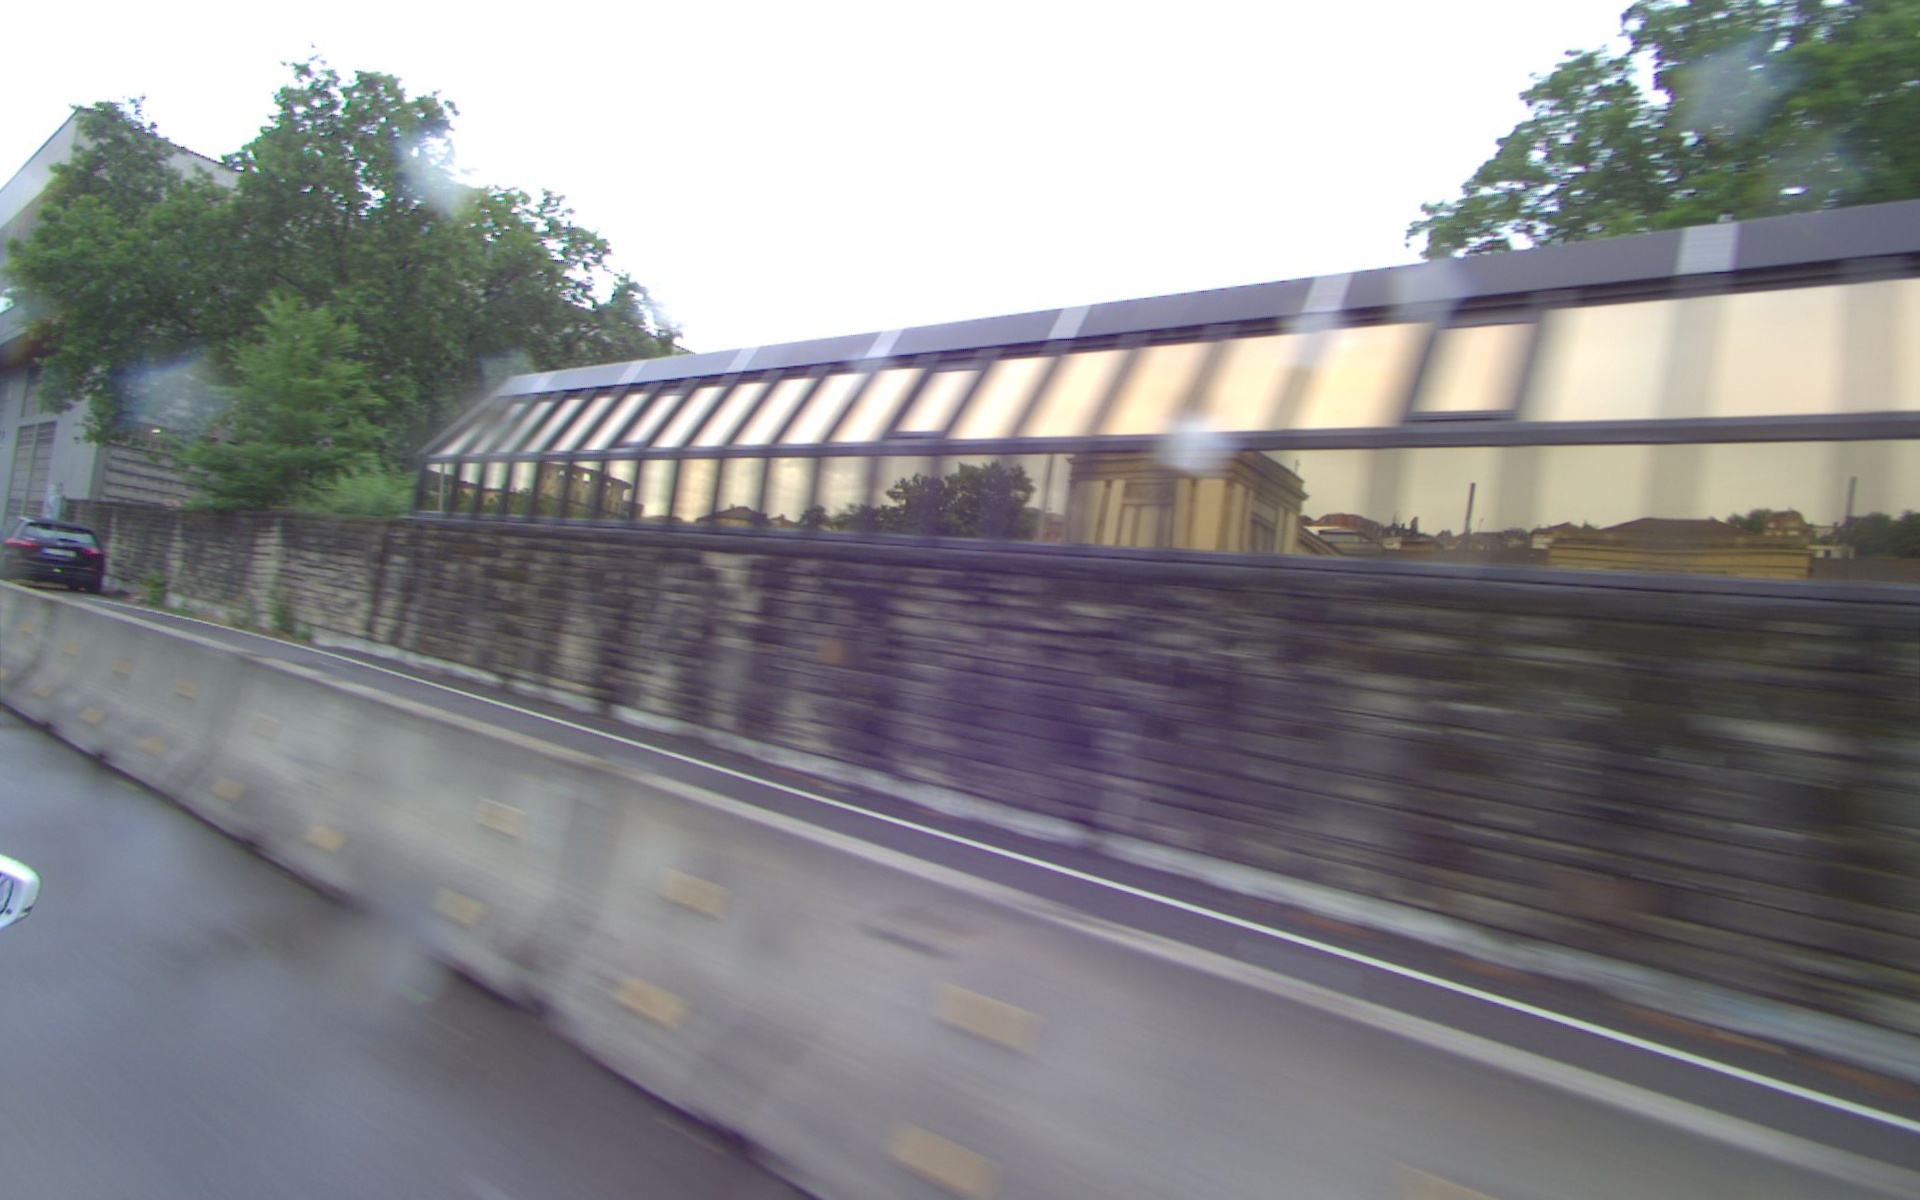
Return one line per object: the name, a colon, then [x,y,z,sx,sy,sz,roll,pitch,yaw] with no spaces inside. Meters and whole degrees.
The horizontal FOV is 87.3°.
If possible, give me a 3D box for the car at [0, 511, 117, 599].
car: [-20.945,-1.075,22.985,4.266,1.569,1.804,5,-4,41]
